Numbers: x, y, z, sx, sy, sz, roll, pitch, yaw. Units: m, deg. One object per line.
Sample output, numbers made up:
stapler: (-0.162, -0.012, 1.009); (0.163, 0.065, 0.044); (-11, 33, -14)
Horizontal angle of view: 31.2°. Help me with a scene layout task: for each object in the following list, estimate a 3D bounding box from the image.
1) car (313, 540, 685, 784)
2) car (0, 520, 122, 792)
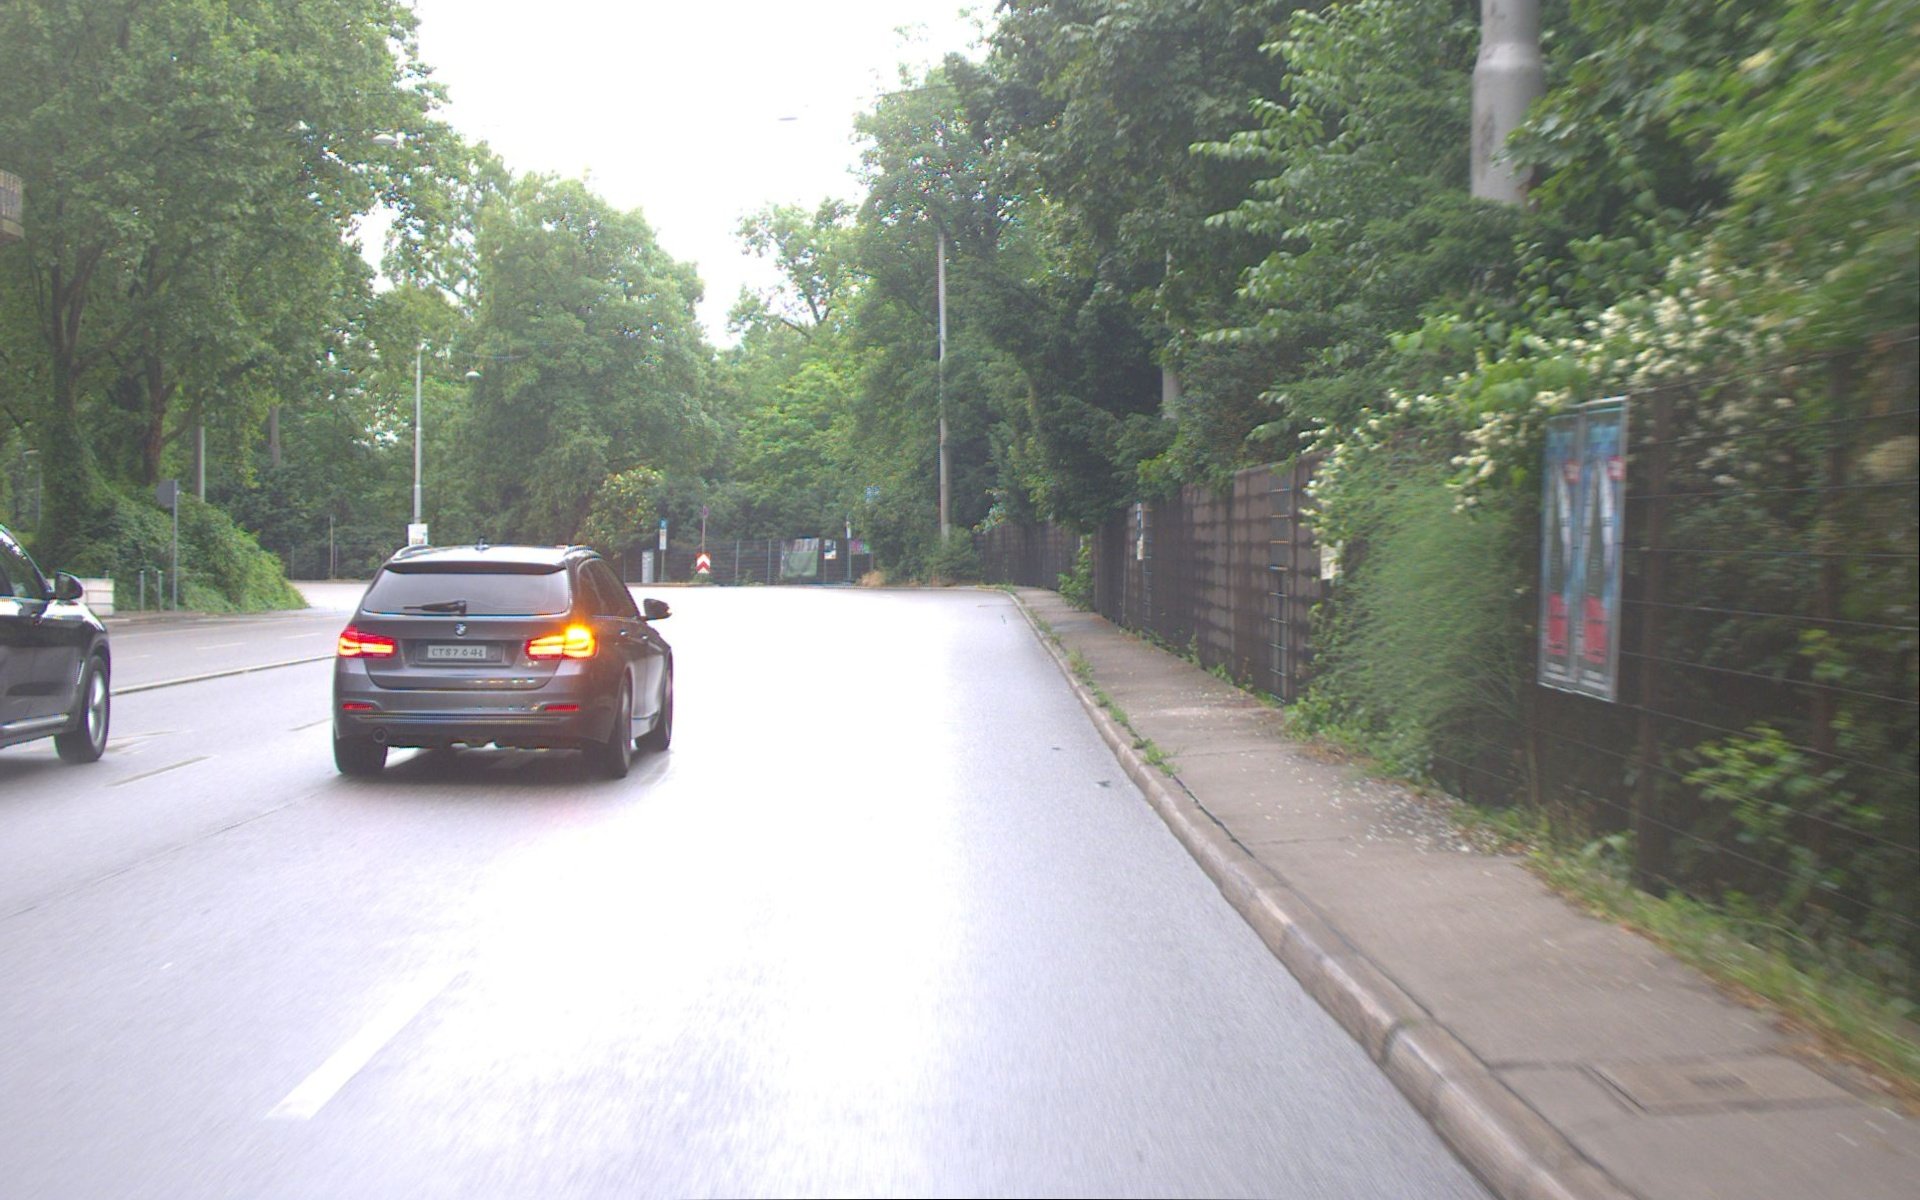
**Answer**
car: (-2.911, 0.341, 22.578); (1.757, 1.427, 4.412); (1, 1, 1)
car: (-6.449, 0.298, 20.752); (1.757, 1.580, 4.413); (1, 1, -1)
